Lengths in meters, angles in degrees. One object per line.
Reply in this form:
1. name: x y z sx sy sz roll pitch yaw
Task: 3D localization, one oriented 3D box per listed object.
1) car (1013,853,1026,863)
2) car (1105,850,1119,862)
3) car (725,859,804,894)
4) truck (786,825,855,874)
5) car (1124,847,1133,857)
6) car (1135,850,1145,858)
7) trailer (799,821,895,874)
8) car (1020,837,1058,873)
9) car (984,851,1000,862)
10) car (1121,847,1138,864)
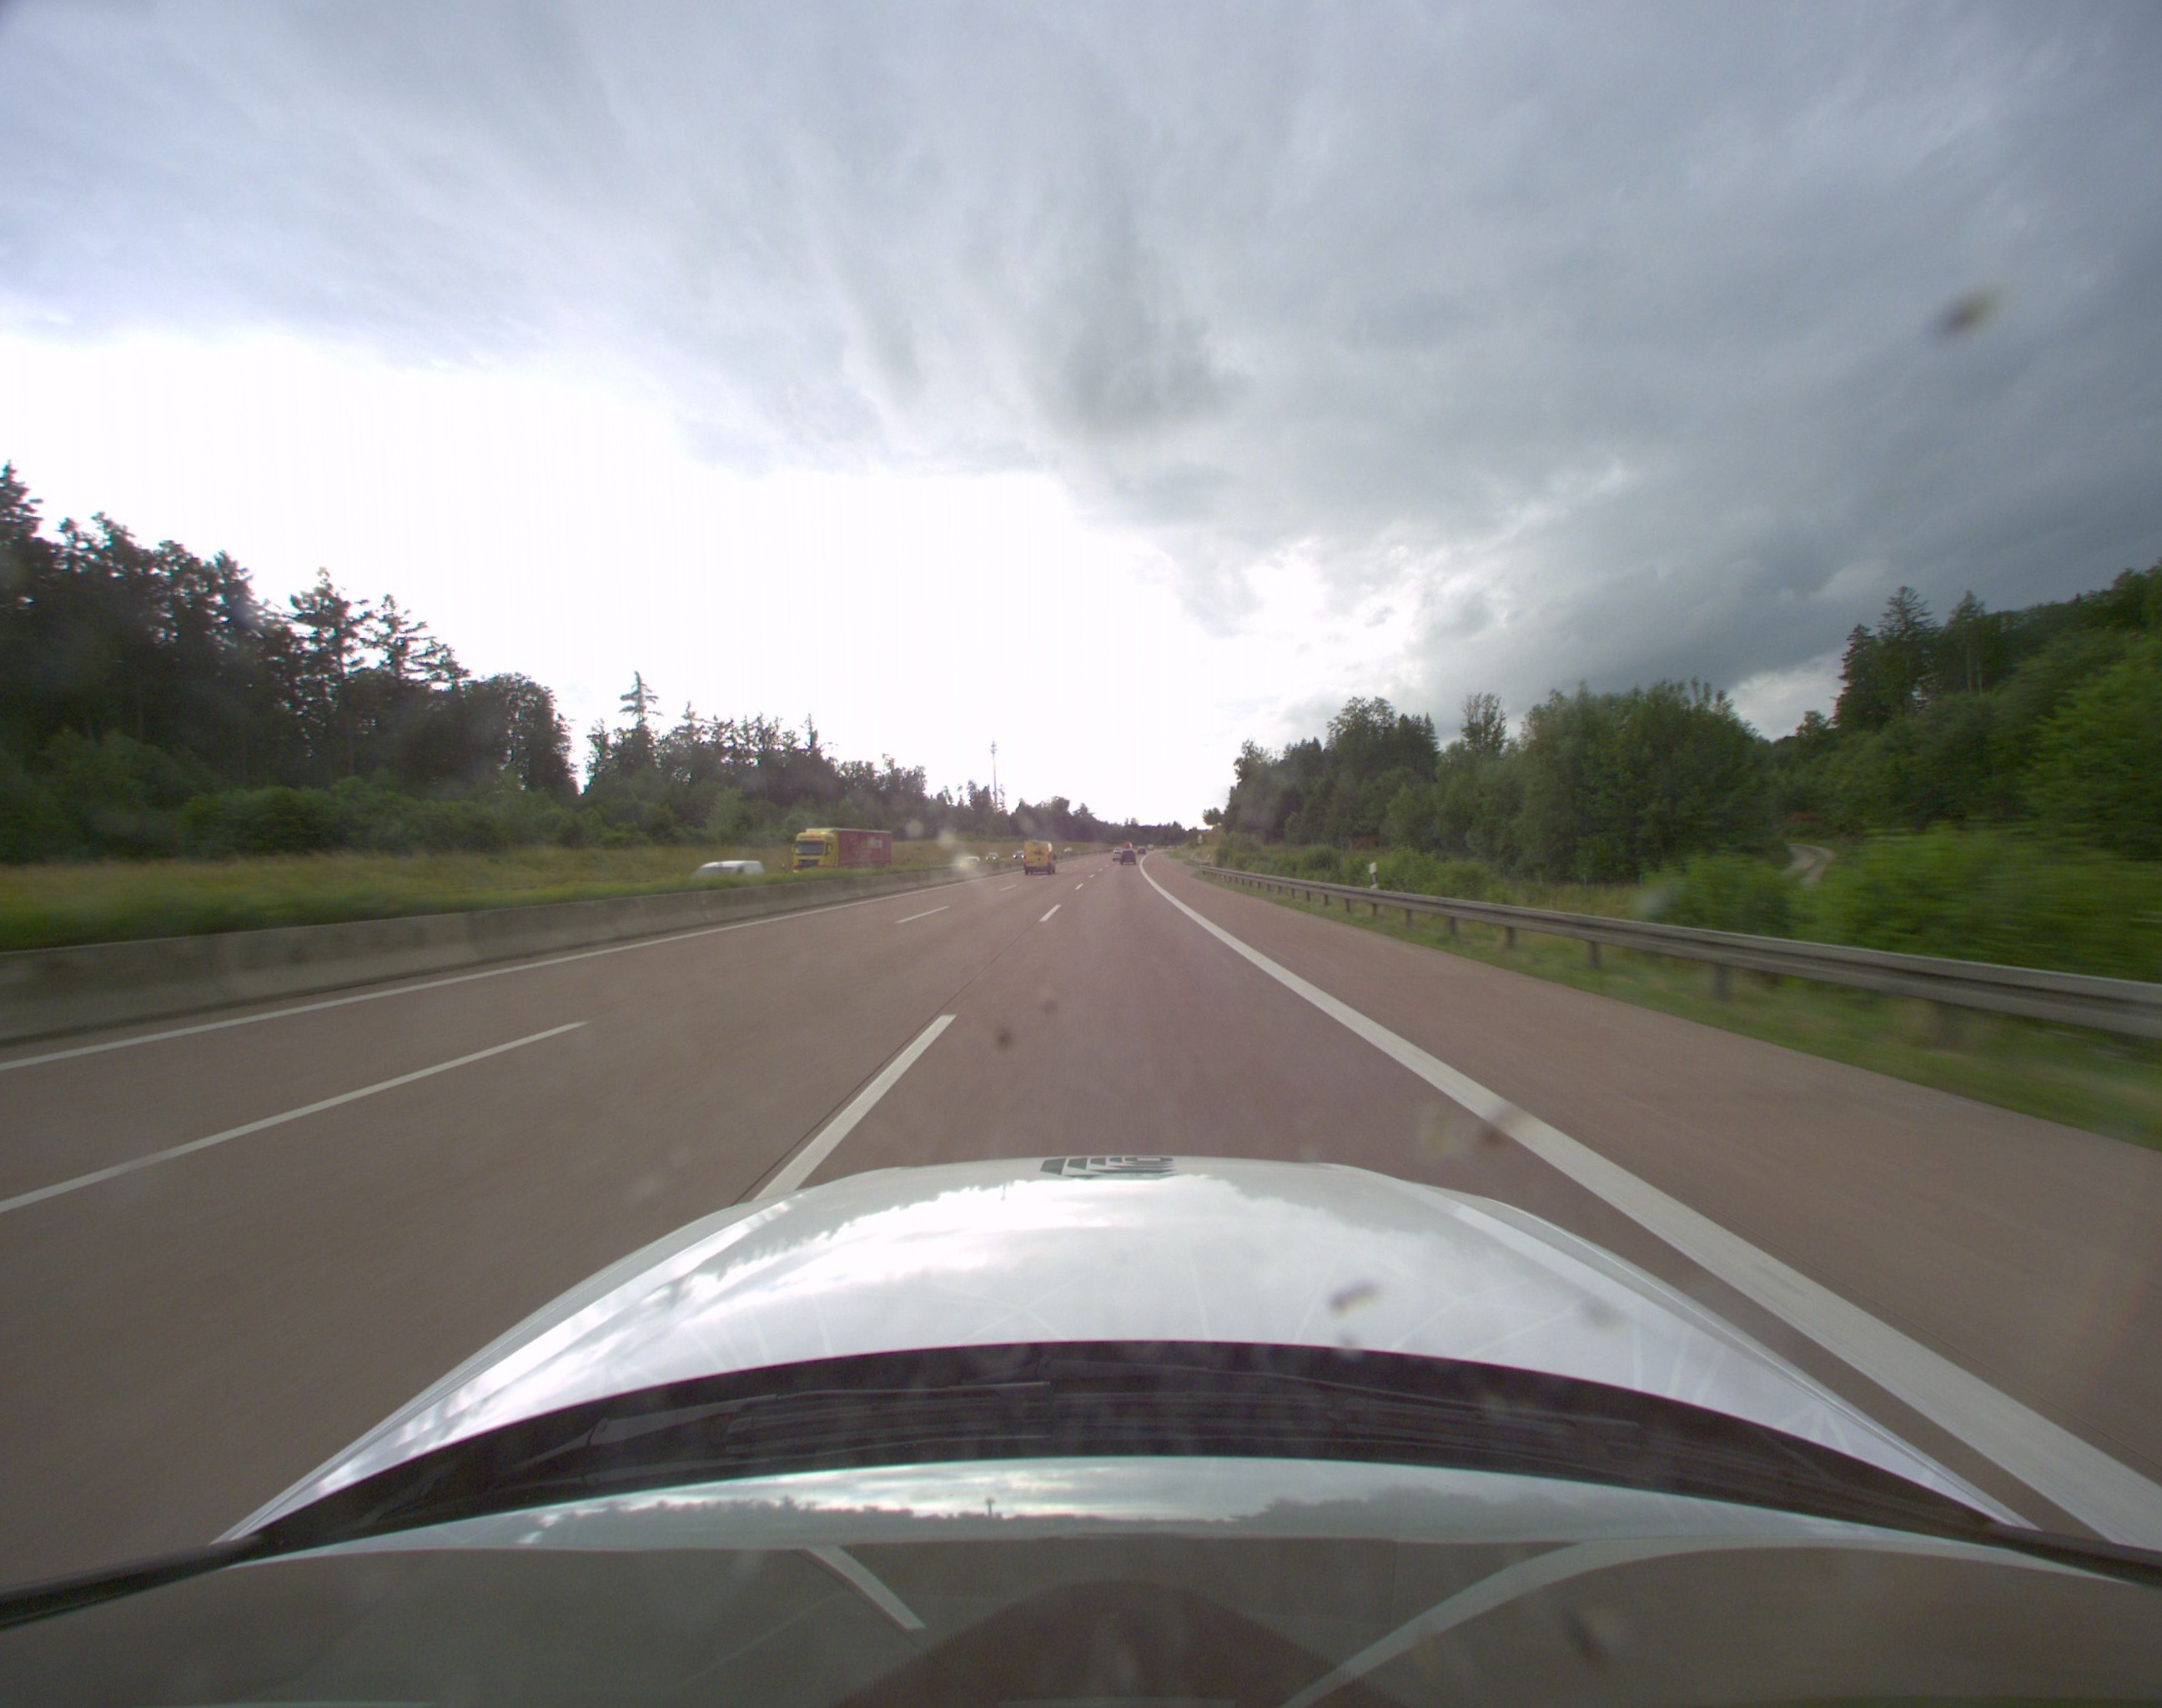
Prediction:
1. car: -10.627 0.772 140.542 1.756 1.638 4.382 0 -1 2
2. car: 4.706 0.312 123.324 1.970 1.648 4.620 -2 -1 1
3. car: -13.843 0.952 35.879 1.734 1.403 4.033 -1 0 2
4. truck: -19.820 -0.246 62.328 2.999 3.582 6.063 0 -1 4
5. car: 12.653 -0.460 217.681 2.230 2.430 6.214 -2 -1 5
6. car: 13.106 -0.072 181.826 1.970 1.648 4.622 -2 -1 2
7. trailer: -19.355 -0.334 68.946 3.020 4.042 14.544 0 -1 4
8. car: -3.272 0.139 65.258 2.449 2.706 5.616 -2 -1 2
9. car: -14.624 0.463 133.956 1.754 1.638 4.384 0 -1 4
10. car: 5.956 0.207 100.144 2.035 1.897 5.582 -2 -1 3
